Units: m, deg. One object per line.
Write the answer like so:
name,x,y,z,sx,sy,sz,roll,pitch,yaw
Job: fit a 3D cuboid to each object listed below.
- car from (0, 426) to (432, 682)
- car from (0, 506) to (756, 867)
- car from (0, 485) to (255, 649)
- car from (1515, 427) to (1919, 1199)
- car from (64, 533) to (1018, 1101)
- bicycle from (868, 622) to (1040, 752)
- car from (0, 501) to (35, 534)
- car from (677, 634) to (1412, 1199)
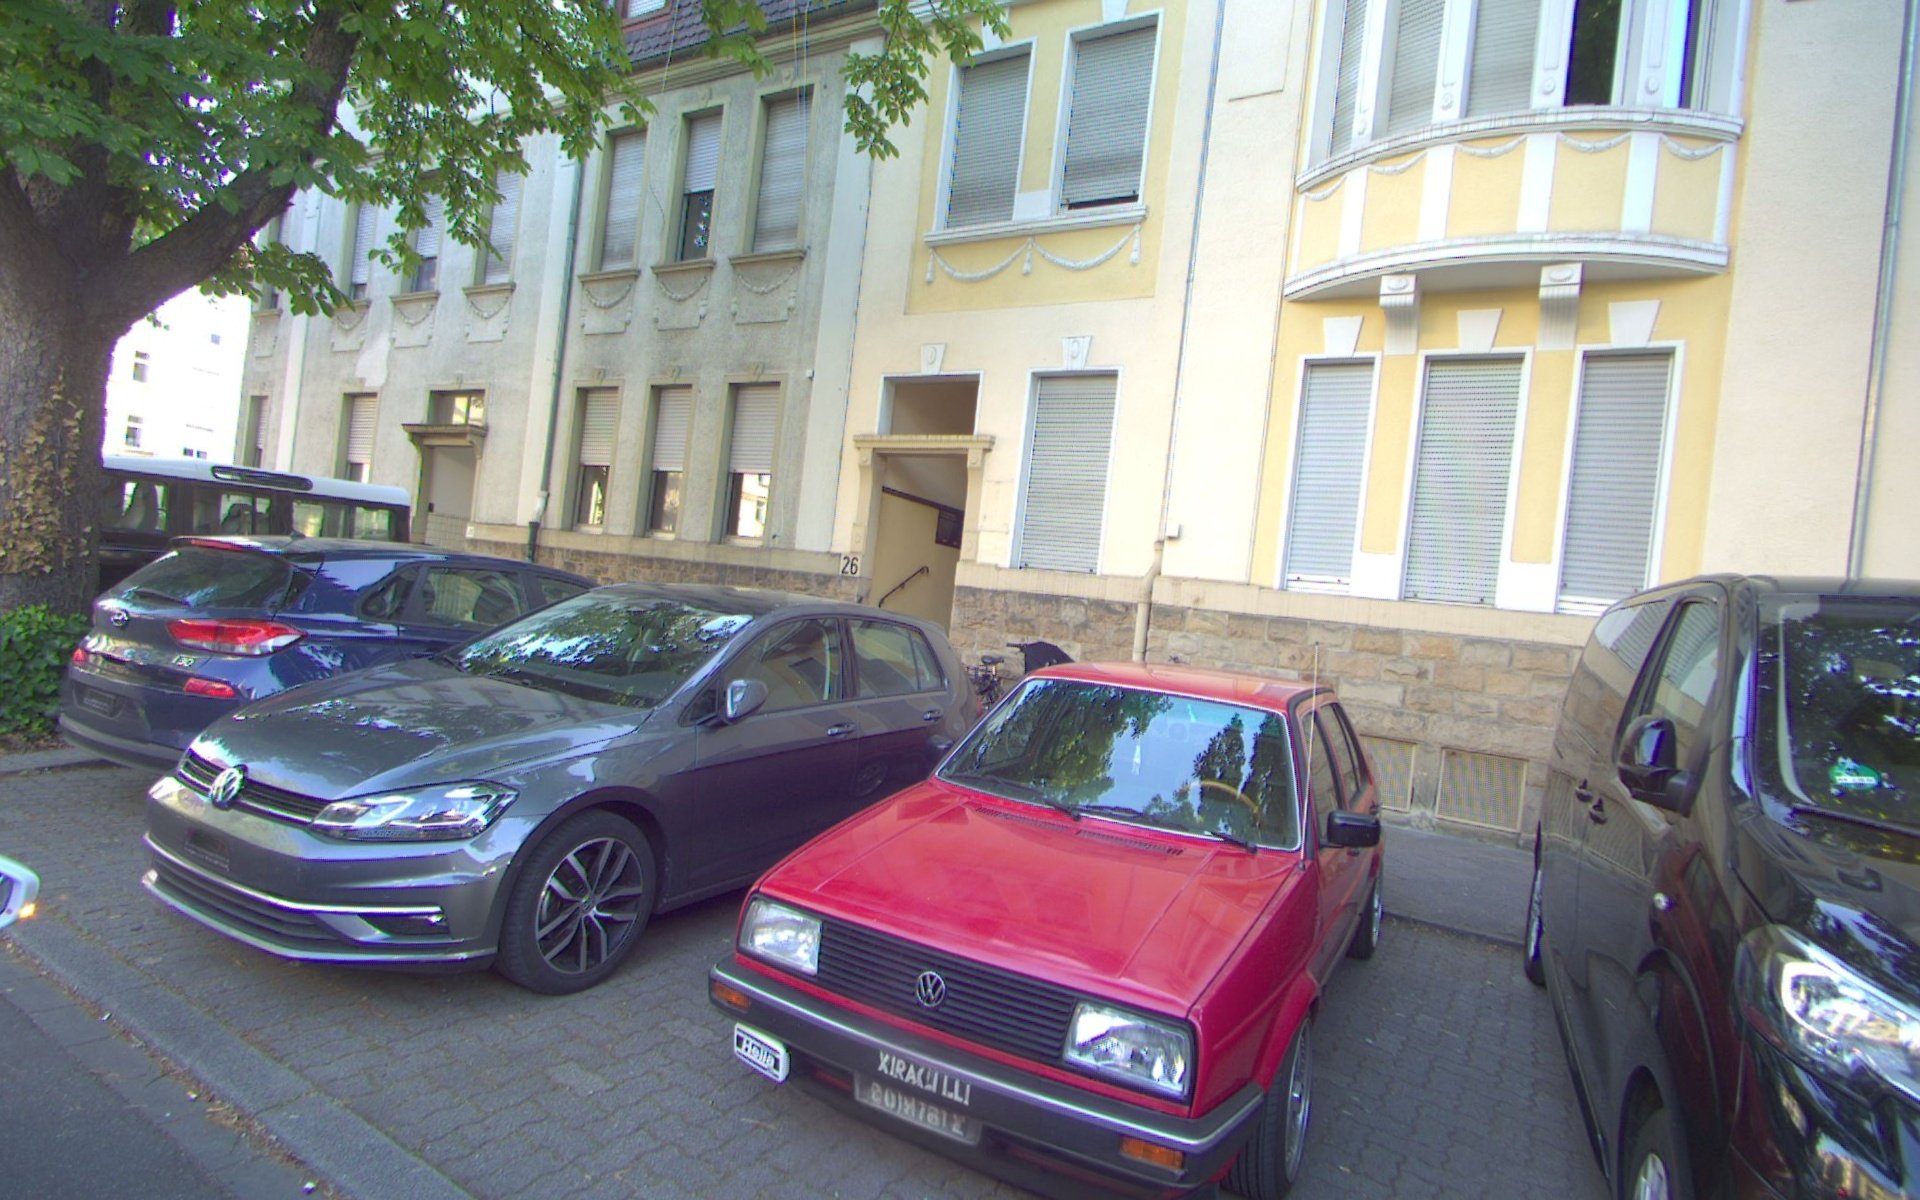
car,-7.615,-0.379,9.315,1.762,1.981,4.496,7,1,29
car,-3.117,0.411,6.241,1.599,1.440,3.756,6,0,26
car,-10.017,-0.392,10.852,1.680,1.606,3.488,7,0,26
car,2.883,0.901,2.949,1.848,1.847,4.829,6,0,27
car,-1.370,0.651,4.846,1.600,1.440,4.054,6,0,29
bicycle,-0.085,0.867,10.415,1.675,1.090,0.500,7,2,32
car,-36.443,-3.251,36.941,1.357,1.081,3.370,7,-1,30
car,0.841,0.920,4.228,1.532,1.337,3.916,6,0,29
